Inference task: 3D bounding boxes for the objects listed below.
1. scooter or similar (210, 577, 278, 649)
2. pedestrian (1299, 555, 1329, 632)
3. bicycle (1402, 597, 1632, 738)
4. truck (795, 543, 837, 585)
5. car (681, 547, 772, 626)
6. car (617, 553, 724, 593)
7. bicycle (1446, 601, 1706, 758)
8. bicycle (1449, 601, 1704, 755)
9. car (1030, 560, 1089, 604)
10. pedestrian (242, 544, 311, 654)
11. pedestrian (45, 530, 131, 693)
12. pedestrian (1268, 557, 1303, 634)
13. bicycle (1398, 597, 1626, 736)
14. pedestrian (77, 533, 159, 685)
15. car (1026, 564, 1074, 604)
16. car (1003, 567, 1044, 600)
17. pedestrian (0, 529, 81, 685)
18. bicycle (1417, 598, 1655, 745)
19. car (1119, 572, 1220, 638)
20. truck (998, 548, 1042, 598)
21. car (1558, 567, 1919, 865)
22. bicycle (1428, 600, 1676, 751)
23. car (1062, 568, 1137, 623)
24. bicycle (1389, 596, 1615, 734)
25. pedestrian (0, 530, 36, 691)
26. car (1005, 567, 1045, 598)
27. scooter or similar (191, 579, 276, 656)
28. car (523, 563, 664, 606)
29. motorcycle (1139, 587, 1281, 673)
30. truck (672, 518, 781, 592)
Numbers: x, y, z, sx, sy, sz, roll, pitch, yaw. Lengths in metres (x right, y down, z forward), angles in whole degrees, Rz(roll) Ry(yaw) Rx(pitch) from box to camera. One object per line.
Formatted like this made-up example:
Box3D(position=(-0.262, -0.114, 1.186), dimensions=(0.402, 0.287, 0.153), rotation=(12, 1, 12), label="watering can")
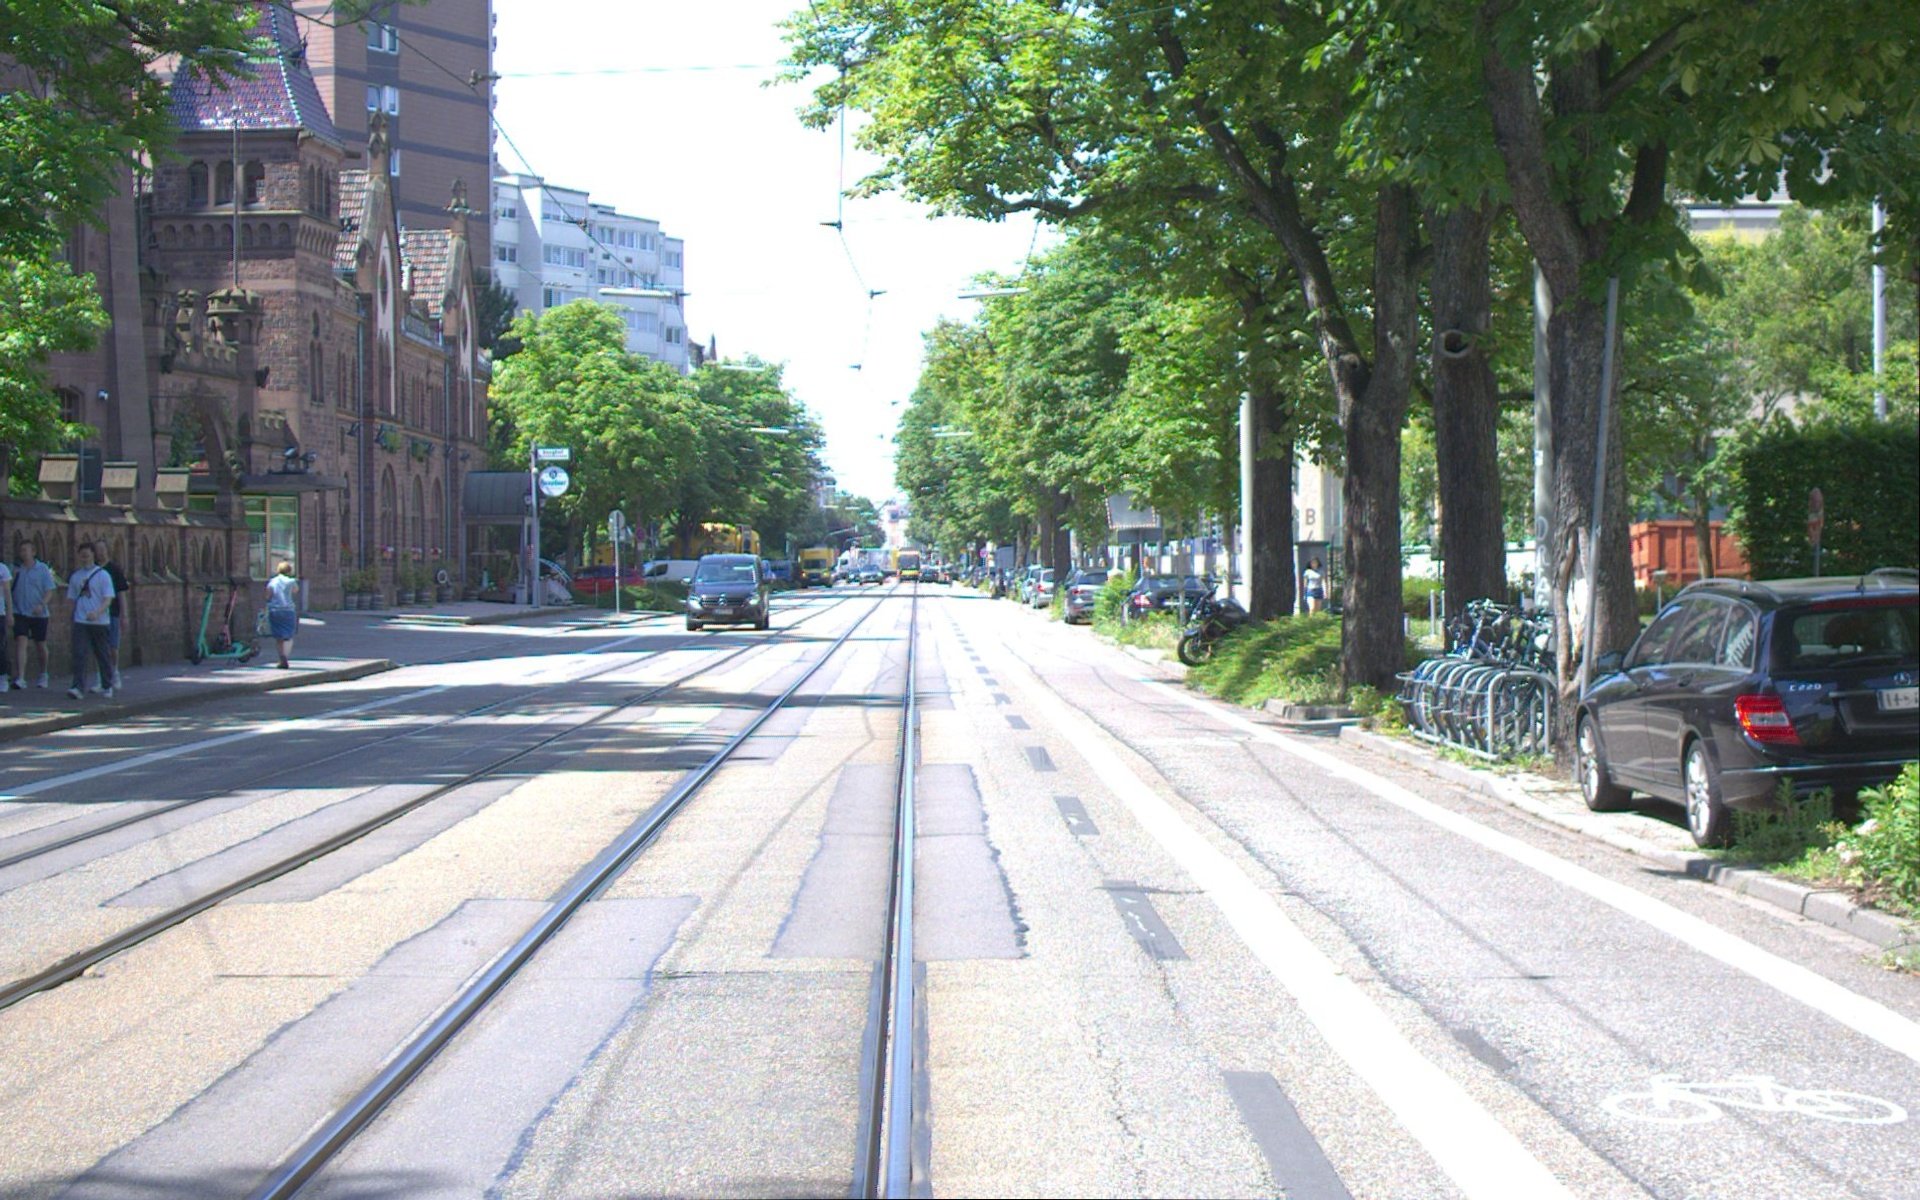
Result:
Box3D(position=(-11.337, 0.204, 54.440), dimensions=(0.329, 1.123, 1.221), rotation=(1, 1, 28), label="scooter or similar")
Box3D(position=(7.315, -0.136, 71.096), dimensions=(0.513, 1.568, 0.544), rotation=(-2, 0, 0), label="pedestrian")
Box3D(position=(4.582, 0.549, 28.308), dimensions=(1.807, 1.107, 0.395), rotation=(-1, 0, -3), label="bicycle")
Box3D(position=(-10.109, -2.534, 241.879), dimensions=(2.360, 2.843, 7.378), rotation=(-2, 0, 1), label="truck")
Box3D(position=(-5.509, -0.332, 81.617), dimensions=(1.904, 1.782, 4.256), rotation=(-1, 1, -1), label="car")
Box3D(position=(-13.401, -1.232, 159.274), dimensions=(4.534, 1.785, 1.901), rotation=(0, 1, -32), label="car")
Box3D(position=(4.562, 0.583, 25.506), dimensions=(1.807, 1.107, 0.514), rotation=(-1, 0, -4), label="bicycle")
Box3D(position=(4.686, 0.584, 26.159), dimensions=(1.807, 1.107, 0.536), rotation=(-1, 0, -9), label="bicycle")
Box3D(position=(3.503, -0.639, 121.256), dimensions=(1.671, 1.494, 4.366), rotation=(-1, 1, -4), label="car")
Box3D(position=(-10.119, -0.024, 50.918), dimensions=(0.799, 1.583, 0.919), rotation=(2, 1, -1), label="pedestrian")
Box3D(position=(-9.809, 0.126, 38.683), dimensions=(0.677, 1.784, 0.919), rotation=(2, 1, -1), label="pedestrian")
Box3D(position=(6.733, -0.105, 71.121), dimensions=(0.618, 1.568, 0.611), rotation=(-2, 0, 0), label="pedestrian")
Box3D(position=(4.606, 0.551, 28.708), dimensions=(1.807, 1.107, 0.395), rotation=(-1, 0, -3), label="bicycle")
Box3D(position=(-9.887, 0.102, 40.370), dimensions=(0.677, 1.742, 0.919), rotation=(2, 1, -1), label="pedestrian")
Box3D(position=(3.497, -0.624, 134.054), dimensions=(1.671, 1.512, 4.202), rotation=(-1, 1, -1), label="car")
Box3D(position=(2.838, -0.755, 154.089), dimensions=(1.824, 1.466, 4.486), rotation=(-1, 1, 1), label="car")
Box3D(position=(-10.826, 0.076, 40.295), dimensions=(0.752, 1.770, 0.919), rotation=(2, 1, -1), label="pedestrian")
Box3D(position=(4.596, 0.564, 27.435), dimensions=(1.807, 1.107, 0.490), rotation=(-2, 0, -14), label="bicycle")
Box3D(position=(4.156, 0.080, 68.767), dimensions=(1.751, 1.266, 3.833), rotation=(1, 1, 0), label="car")
Box3D(position=(3.041, -1.387, 175.529), dimensions=(2.014, 2.480, 5.956), rotation=(-1, 1, -1), label="truck")
Box3D(position=(4.746, 0.565, 19.787), dimensions=(1.676, 1.462, 4.635), rotation=(-1, 1, -1), label="car")
Box3D(position=(4.607, 0.581, 26.778), dimensions=(1.807, 1.107, 0.533), rotation=(-1, 0, -9), label="bicycle")
Box3D(position=(3.655, -0.144, 90.898), dimensions=(1.671, 1.403, 4.749), rotation=(-1, 1, -1), label="car")
Box3D(position=(4.588, 0.546, 29.139), dimensions=(1.807, 1.107, 0.449), rotation=(-1, 0, -3), label="bicycle")
Box3D(position=(-10.810, 0.100, 38.387), dimensions=(0.677, 1.770, 0.919), rotation=(2, 1, -1), label="pedestrian")
Box3D(position=(3.128, -0.851, 164.990), dimensions=(1.824, 1.466, 4.400), rotation=(-1, 1, 2), label="car")
Box3D(position=(-10.768, 0.264, 50.989), dimensions=(0.348, 1.123, 1.222), rotation=(1, -1, 43), label="scooter or similar")
Box3D(position=(-13.482, -0.580, 126.528), dimensions=(4.764, 1.561, 2.002), rotation=(0, 0, -28), label="car")
Box3D(position=(3.594, 0.439, 49.598), dimensions=(2.060, 1.208, 0.611), rotation=(-1, -1, 39), label="motorcycle")
Box3D(position=(-12.712, -2.421, 188.545), dimensions=(2.717, 3.829, 10.956), rotation=(1, 0, 14), label="truck")
